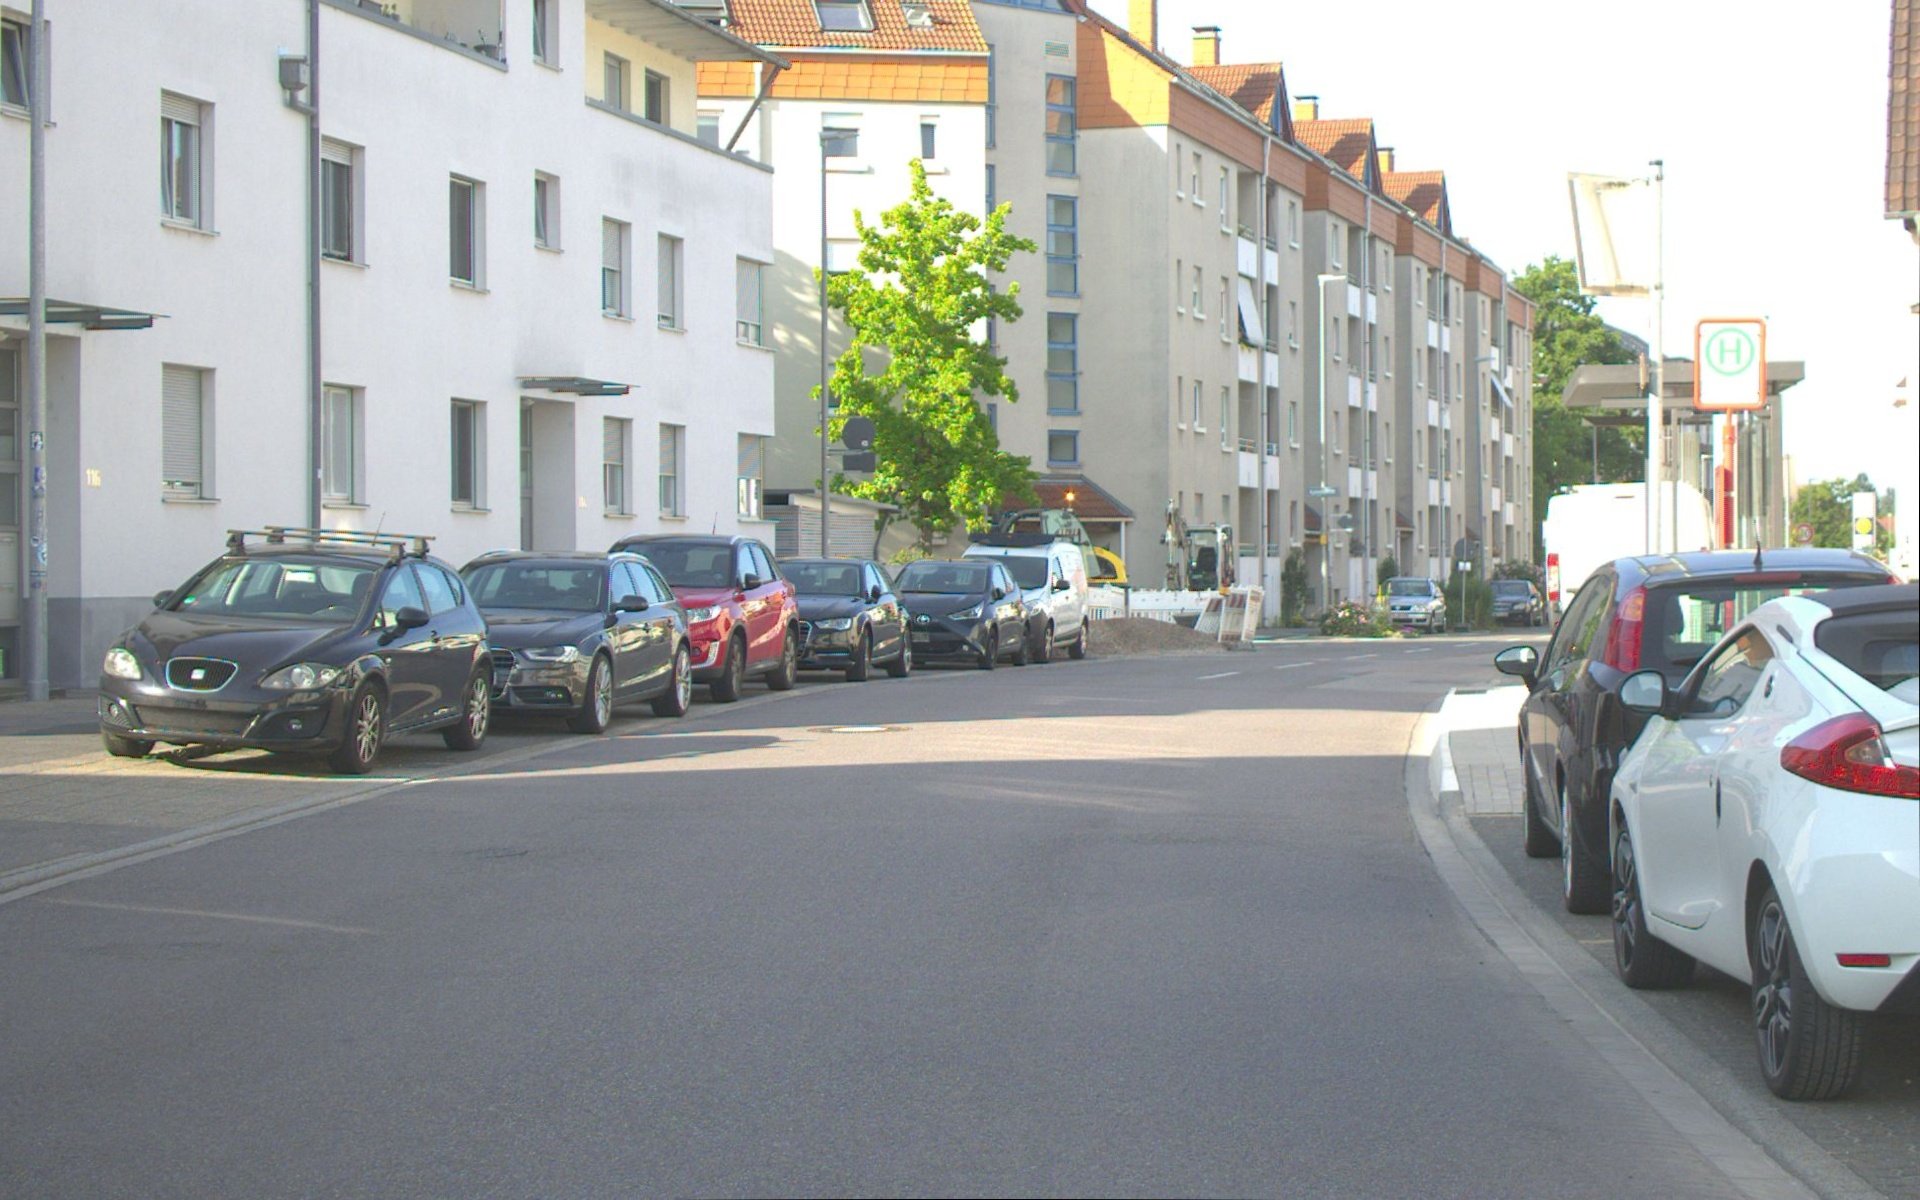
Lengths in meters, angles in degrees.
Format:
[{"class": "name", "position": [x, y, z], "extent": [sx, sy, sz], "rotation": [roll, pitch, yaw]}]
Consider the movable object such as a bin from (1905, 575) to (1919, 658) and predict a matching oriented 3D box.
[{"class": "movable object such as a bin", "position": [12.922, 0.215, 45.625], "extent": [0.728, 1.089, 0.553], "rotation": [0, 0, 14]}]

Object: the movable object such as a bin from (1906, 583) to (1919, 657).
[{"class": "movable object such as a bin", "position": [12.725, 0.257, 44.818], "extent": [0.728, 0.955, 0.553], "rotation": [1, 0, 14]}]

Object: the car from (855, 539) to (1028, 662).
[{"class": "car", "position": [-0.207, -0.020, 45.536], "extent": [1.494, 1.460, 3.512], "rotation": [4, 2, 12]}]

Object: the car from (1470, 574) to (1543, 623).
[{"class": "car", "position": [16.419, -0.056, 103.167], "extent": [1.687, 1.401, 4.081], "rotation": [1, 1, 16]}]

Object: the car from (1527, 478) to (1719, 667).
[{"class": "car", "position": [8.790, -0.364, 45.290], "extent": [2.176, 2.319, 4.994], "rotation": [-1, 0, 14]}]

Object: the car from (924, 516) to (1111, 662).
[{"class": "car", "position": [0.897, -0.185, 50.869], "extent": [1.728, 1.954, 4.436], "rotation": [4, 1, 14]}]

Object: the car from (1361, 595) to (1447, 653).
[{"class": "car", "position": [11.117, 0.591, 85.866], "extent": [1.641, 1.391, 3.669], "rotation": [0, 0, 15]}]

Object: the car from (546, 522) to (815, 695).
[{"class": "car", "position": [-2.718, 0.042, 34.376], "extent": [1.728, 1.616, 4.262], "rotation": [0, 1, 9]}]

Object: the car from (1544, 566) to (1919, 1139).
[{"class": "car", "position": [3.013, 0.625, 10.762], "extent": [1.715, 1.393, 4.334], "rotation": [1, 1, 2]}]

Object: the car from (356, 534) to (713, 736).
[{"class": "car", "position": [-3.466, 0.231, 28.870], "extent": [1.728, 1.473, 4.501], "rotation": [3, 1, 9]}]

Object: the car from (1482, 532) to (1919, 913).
[{"class": "car", "position": [3.301, 0.445, 15.247], "extent": [1.608, 1.416, 3.919], "rotation": [-2, 1, 4]}]

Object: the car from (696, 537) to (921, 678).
[{"class": "car", "position": [-1.687, 0.043, 39.657], "extent": [1.728, 1.473, 4.262], "rotation": [2, 1, 9]}]

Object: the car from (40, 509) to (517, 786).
[{"class": "car", "position": [-4.523, 0.260, 23.483], "extent": [1.776, 1.616, 4.176], "rotation": [4, 1, 9]}]

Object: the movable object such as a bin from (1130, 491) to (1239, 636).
[{"class": "movable object such as a bin", "position": [5.048, -0.841, 76.883], "extent": [1.649, 3.127, 3.897], "rotation": [2, 1, 15]}]

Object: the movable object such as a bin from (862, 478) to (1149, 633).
[{"class": "movable object such as a bin", "position": [0.908, -0.889, 67.611], "extent": [5.497, 2.890, 2.112], "rotation": [1, 1, 2]}]
